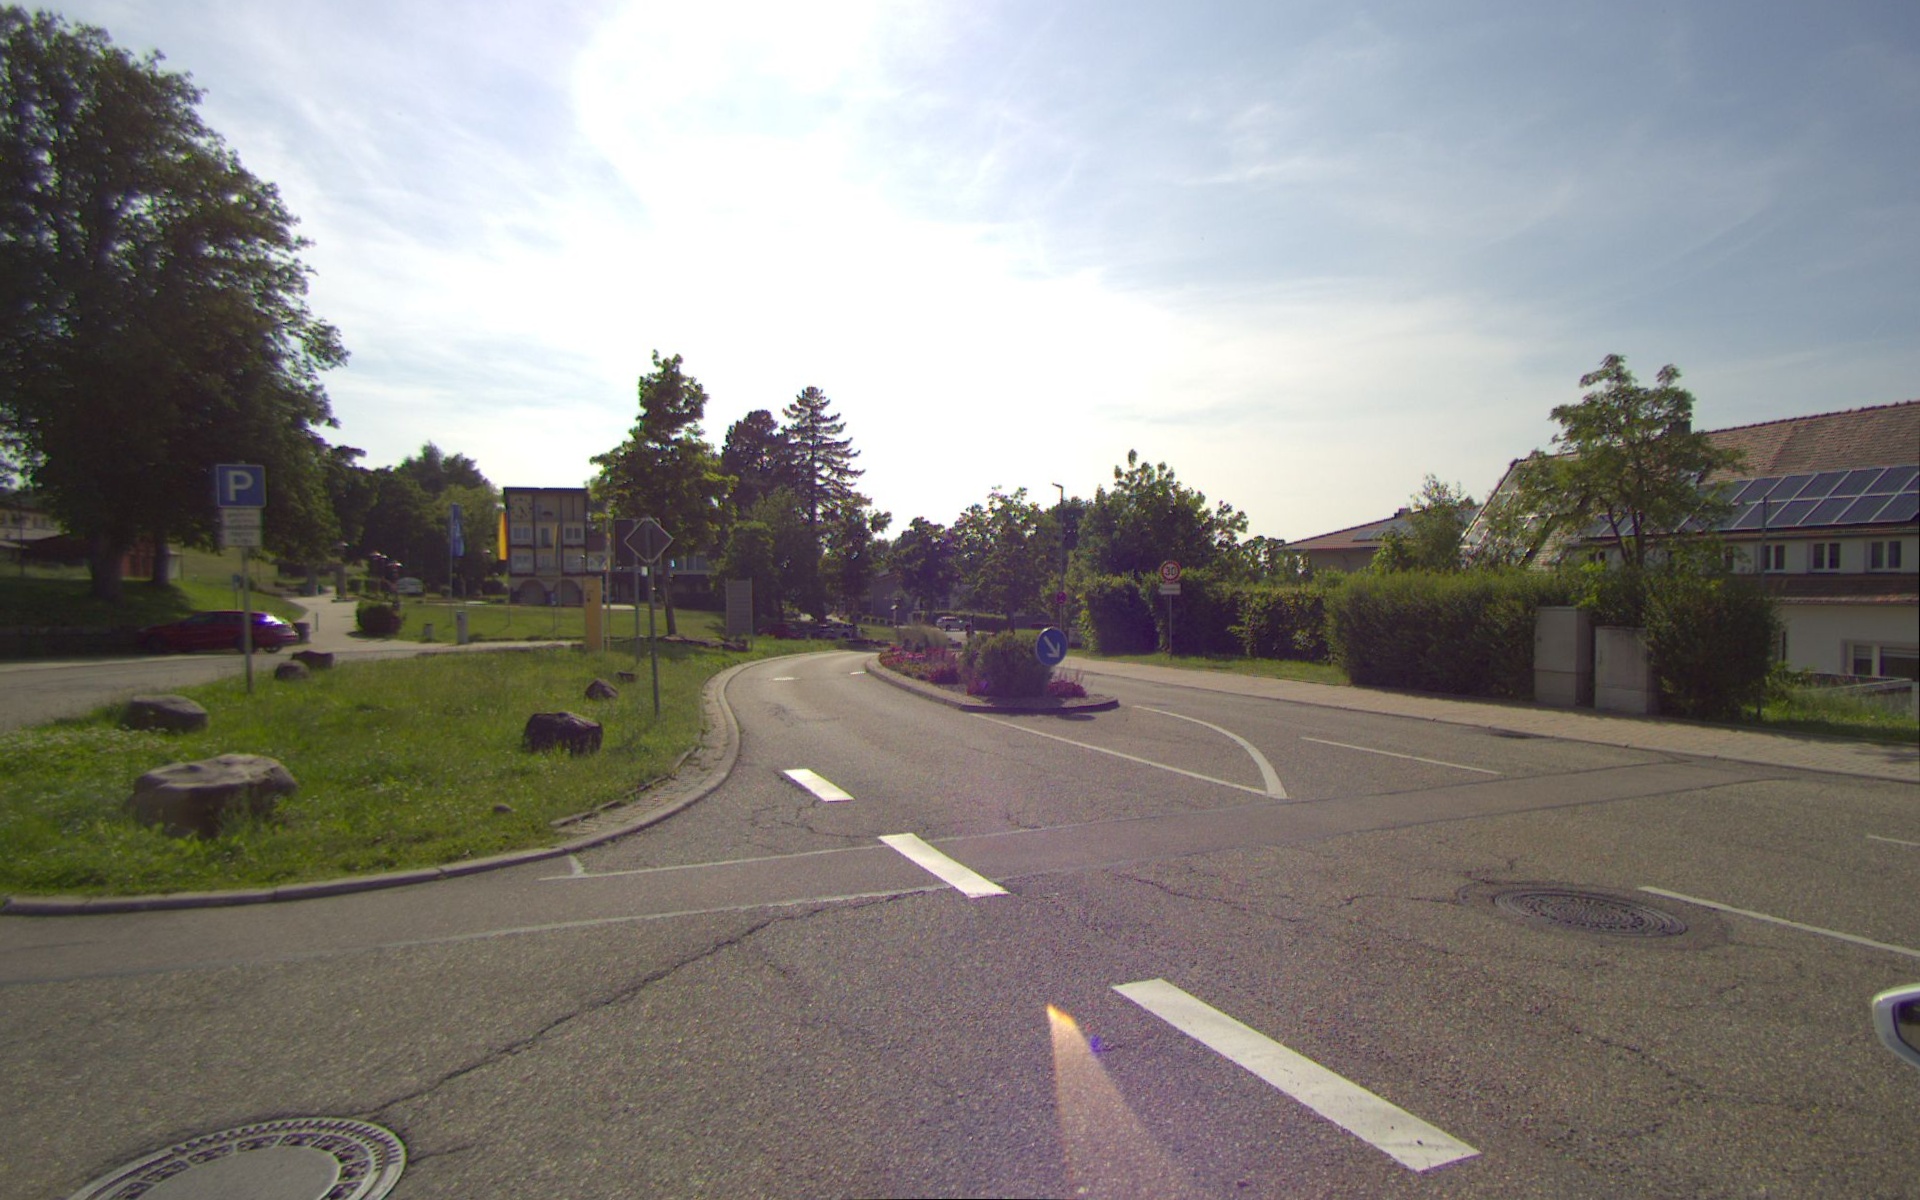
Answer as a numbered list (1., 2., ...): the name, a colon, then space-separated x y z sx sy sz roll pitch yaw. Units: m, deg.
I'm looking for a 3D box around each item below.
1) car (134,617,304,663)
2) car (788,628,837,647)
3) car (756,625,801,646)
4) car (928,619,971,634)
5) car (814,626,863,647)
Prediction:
1. car: -24.845 1.338 33.814 4.161 1.417 1.821 2 -1 -9
2. car: -12.381 3.139 84.302 3.647 1.452 1.773 2 -2 30
3. car: -14.779 2.892 81.669 3.149 1.489 1.774 2 -2 28
4. car: -1.266 3.134 119.253 4.670 1.555 1.985 0 4 -28
5. car: -10.627 3.225 87.977 3.870 1.630 1.773 2 -2 30
